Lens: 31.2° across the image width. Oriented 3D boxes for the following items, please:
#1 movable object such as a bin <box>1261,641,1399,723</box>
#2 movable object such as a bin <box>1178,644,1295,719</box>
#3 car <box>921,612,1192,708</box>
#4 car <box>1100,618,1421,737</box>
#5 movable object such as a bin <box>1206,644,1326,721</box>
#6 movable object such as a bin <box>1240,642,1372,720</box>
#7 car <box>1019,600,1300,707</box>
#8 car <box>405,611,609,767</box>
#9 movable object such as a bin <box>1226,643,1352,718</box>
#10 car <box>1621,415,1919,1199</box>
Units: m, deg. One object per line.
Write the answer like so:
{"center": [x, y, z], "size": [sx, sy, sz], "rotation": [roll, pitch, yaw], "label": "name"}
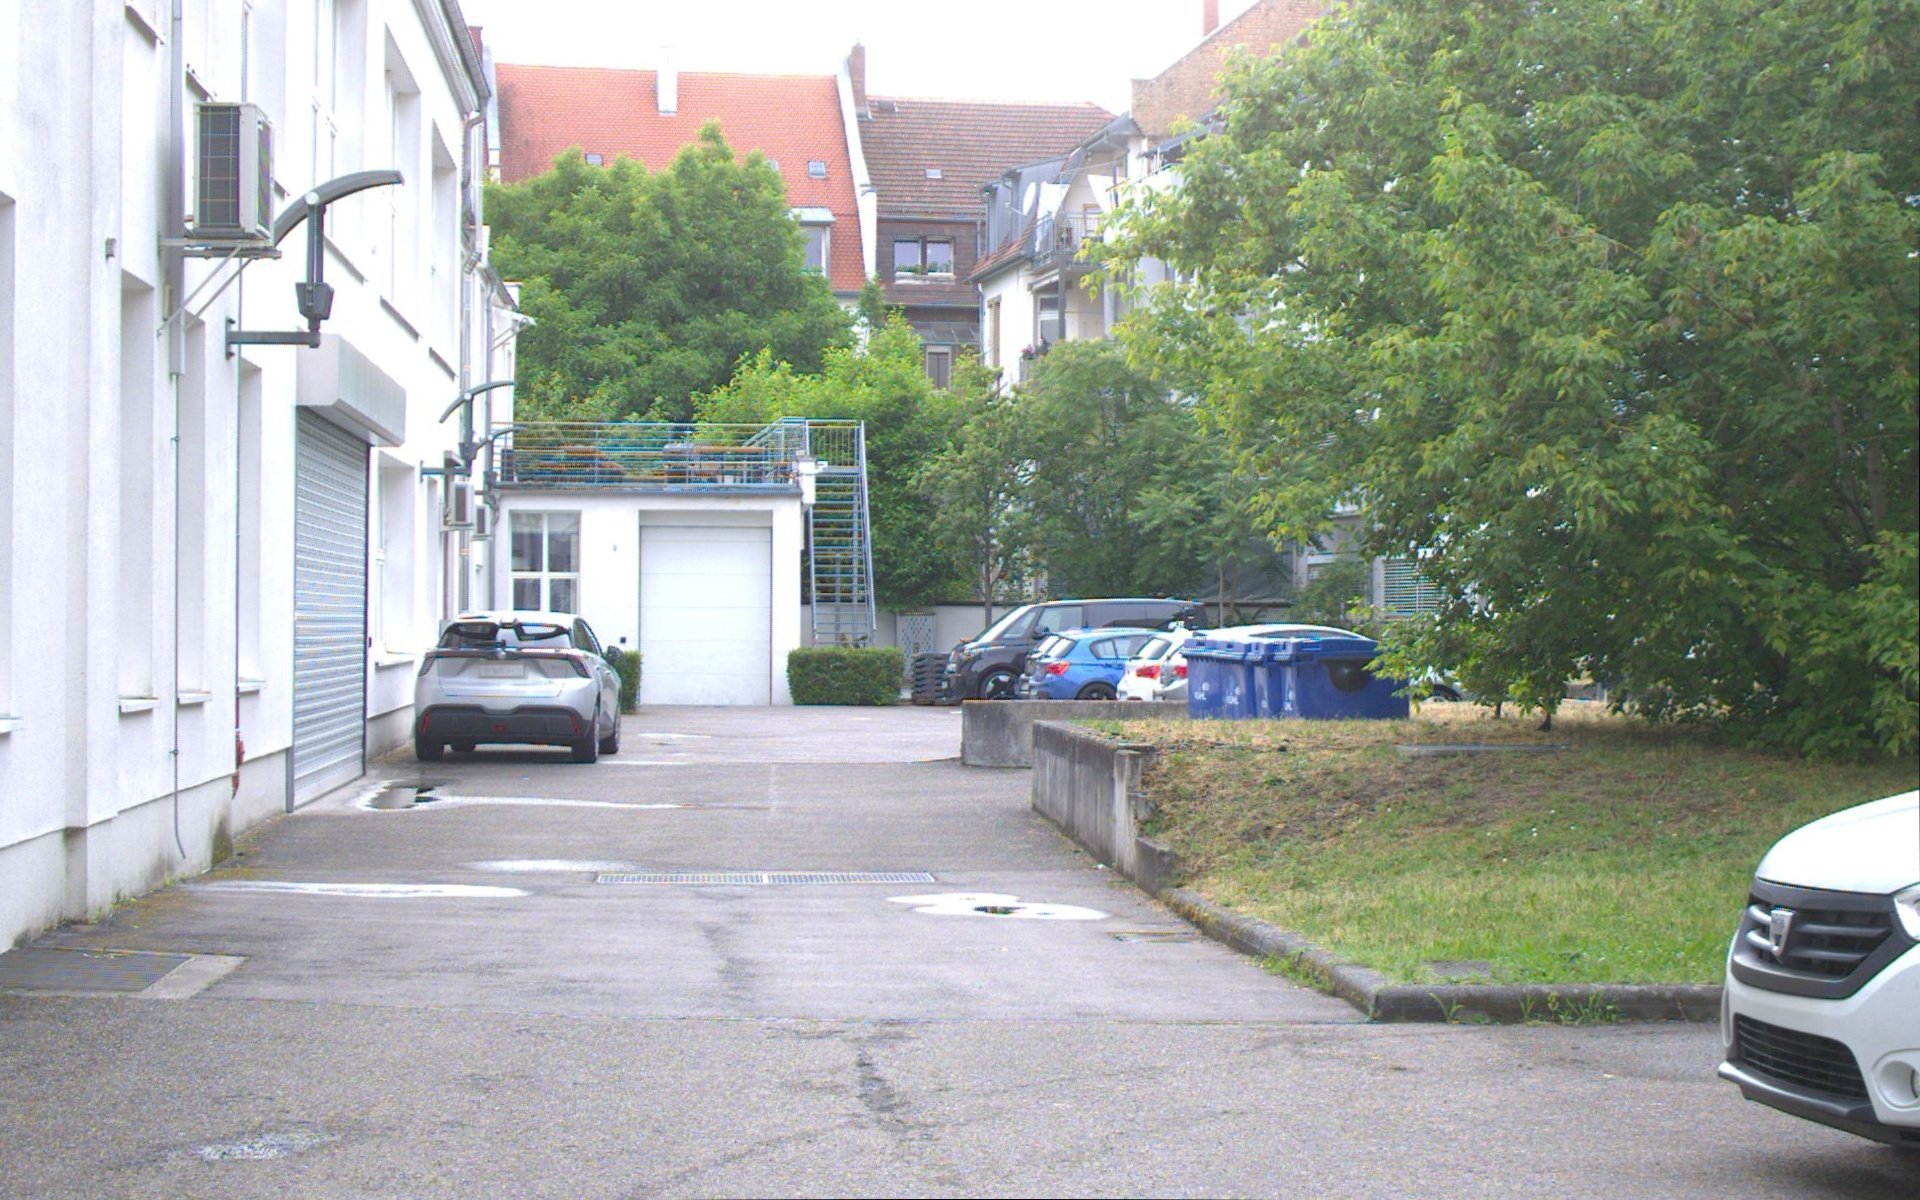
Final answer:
{"center": [2.971, 0.657, 27.697], "size": [0.965, 0.634, 0.911], "rotation": [1, -1, -3], "label": "movable object such as a bin"}
{"center": [2.575, 0.761, 32.104], "size": [0.965, 0.677, 0.871], "rotation": [1, -1, -3], "label": "movable object such as a bin"}
{"center": [1.622, 1.013, 58.358], "size": [4.181, 1.568, 2.001], "rotation": [1, 0, -15], "label": "car"}
{"center": [4.150, 1.067, 47.720], "size": [3.986, 1.568, 2.001], "rotation": [1, 0, -15], "label": "car"}
{"center": [2.768, 0.745, 31.184], "size": [0.965, 0.677, 0.811], "rotation": [1, -1, -3], "label": "movable object such as a bin"}
{"center": [2.906, 0.681, 28.944], "size": [0.965, 0.634, 0.911], "rotation": [1, -1, -3], "label": "movable object such as a bin"}
{"center": [3.047, 0.817, 52.674], "size": [3.986, 1.568, 1.586], "rotation": [1, 0, -15], "label": "car"}
{"center": [-4.641, 0.910, 35.673], "size": [1.847, 1.503, 4.000], "rotation": [1, -1, -4], "label": "car"}
{"center": [2.879, 0.705, 30.190], "size": [0.965, 0.634, 0.911], "rotation": [1, -1, -3], "label": "movable object such as a bin"}
{"center": [4.224, 0.609, 9.463], "size": [4.336, 2.007, 1.855], "rotation": [1, -1, -9], "label": "car"}
